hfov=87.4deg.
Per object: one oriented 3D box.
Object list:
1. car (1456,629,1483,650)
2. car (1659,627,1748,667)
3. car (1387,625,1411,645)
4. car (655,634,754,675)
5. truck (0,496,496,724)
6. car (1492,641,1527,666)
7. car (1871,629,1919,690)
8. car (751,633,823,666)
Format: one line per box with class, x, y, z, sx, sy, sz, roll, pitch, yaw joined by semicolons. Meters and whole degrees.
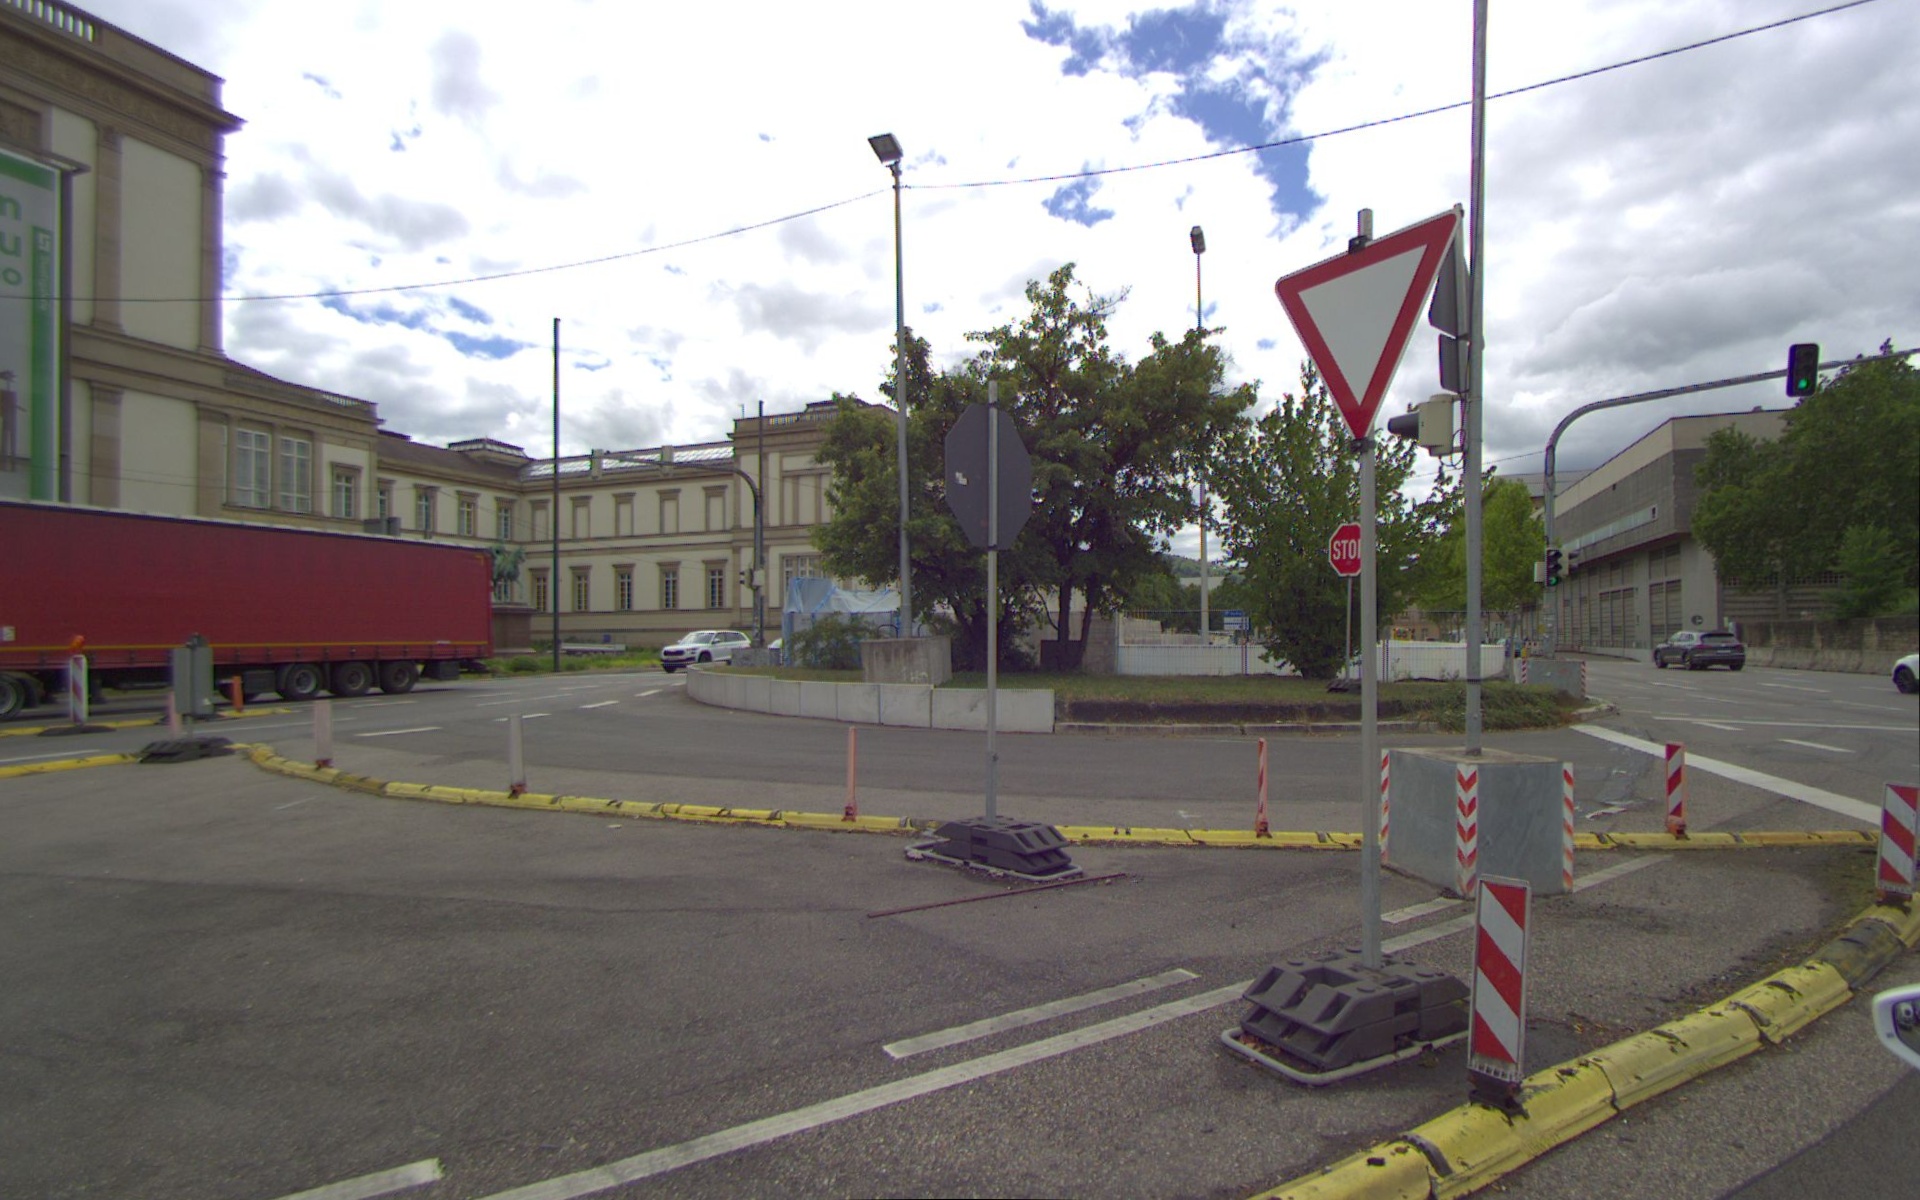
car;44.332;3.413;87.479;1.795;1.763;4.477;-2;-3;24
car;32.331;2.025;43.850;1.793;1.588;4.480;-1;-1;19
car;53.283;4.266;122.020;2.541;2.405;5.524;-2;-3;23
car;-10.261;2.165;40.648;1.683;1.557;4.139;0;-2;23
truck;-17.622;0.315;21.614;2.870;4.136;16.613;-2;-2;21
car;39.965;3.869;73.180;1.795;1.763;4.477;-2;-3;24
car;26.284;1.551;26.140;1.721;1.588;4.335;-2;-2;11
car;-7.994;2.269;46.588;1.561;1.445;3.641;0;-2;23
